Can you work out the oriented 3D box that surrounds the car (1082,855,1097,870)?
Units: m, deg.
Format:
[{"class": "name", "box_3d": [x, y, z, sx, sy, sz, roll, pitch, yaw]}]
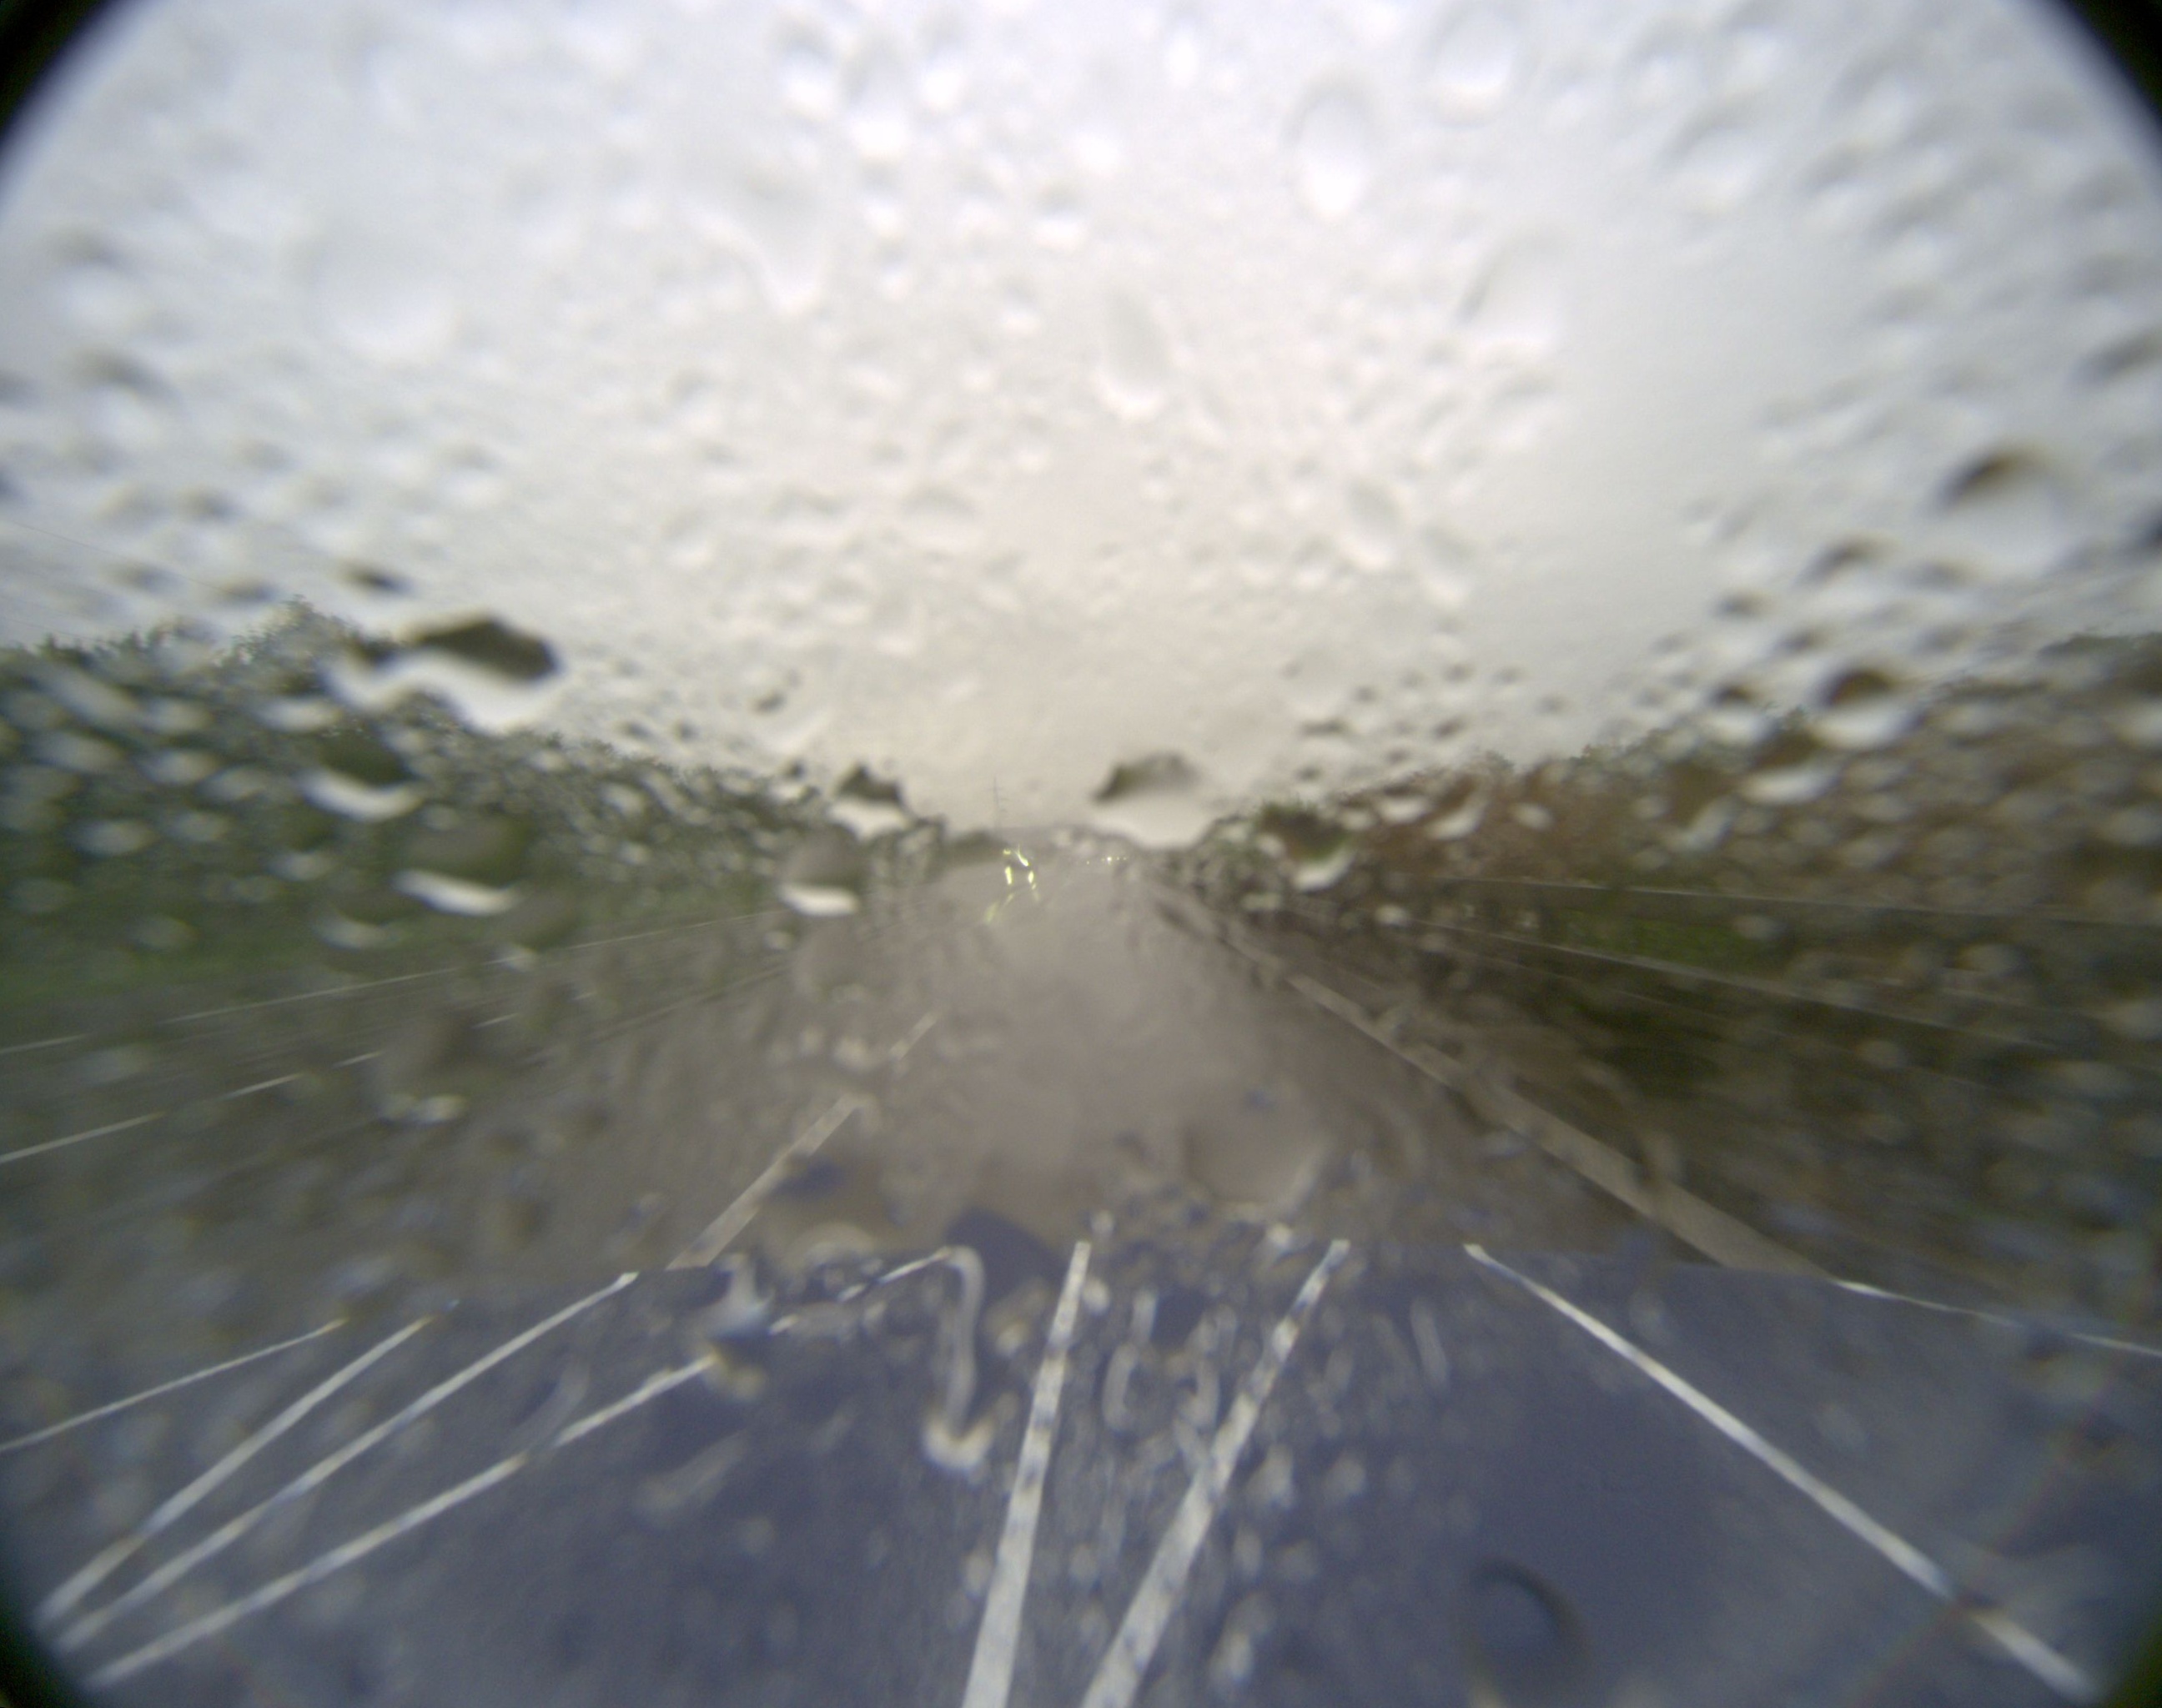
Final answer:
[{"class": "car", "box_3d": [1.125, 1.217, 106.007, 1.998, 2.002, 4.000, -2, 0, 0]}]

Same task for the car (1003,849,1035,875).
[{"class": "car", "box_3d": [-4.993, 0.622, 61.369, 1.998, 2.002, 4.001, -3, 0, 2]}]

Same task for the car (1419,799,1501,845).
[{"class": "car", "box_3d": [18.380, -1.506, 37.043, 1.998, 2.002, 4.000, -2, 0, 1]}]

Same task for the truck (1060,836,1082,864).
[{"class": "truck", "box_3d": [-1.770, -0.707, 135.095, 3.135, 4.641, 11.405, -2, 0, 2]}]
